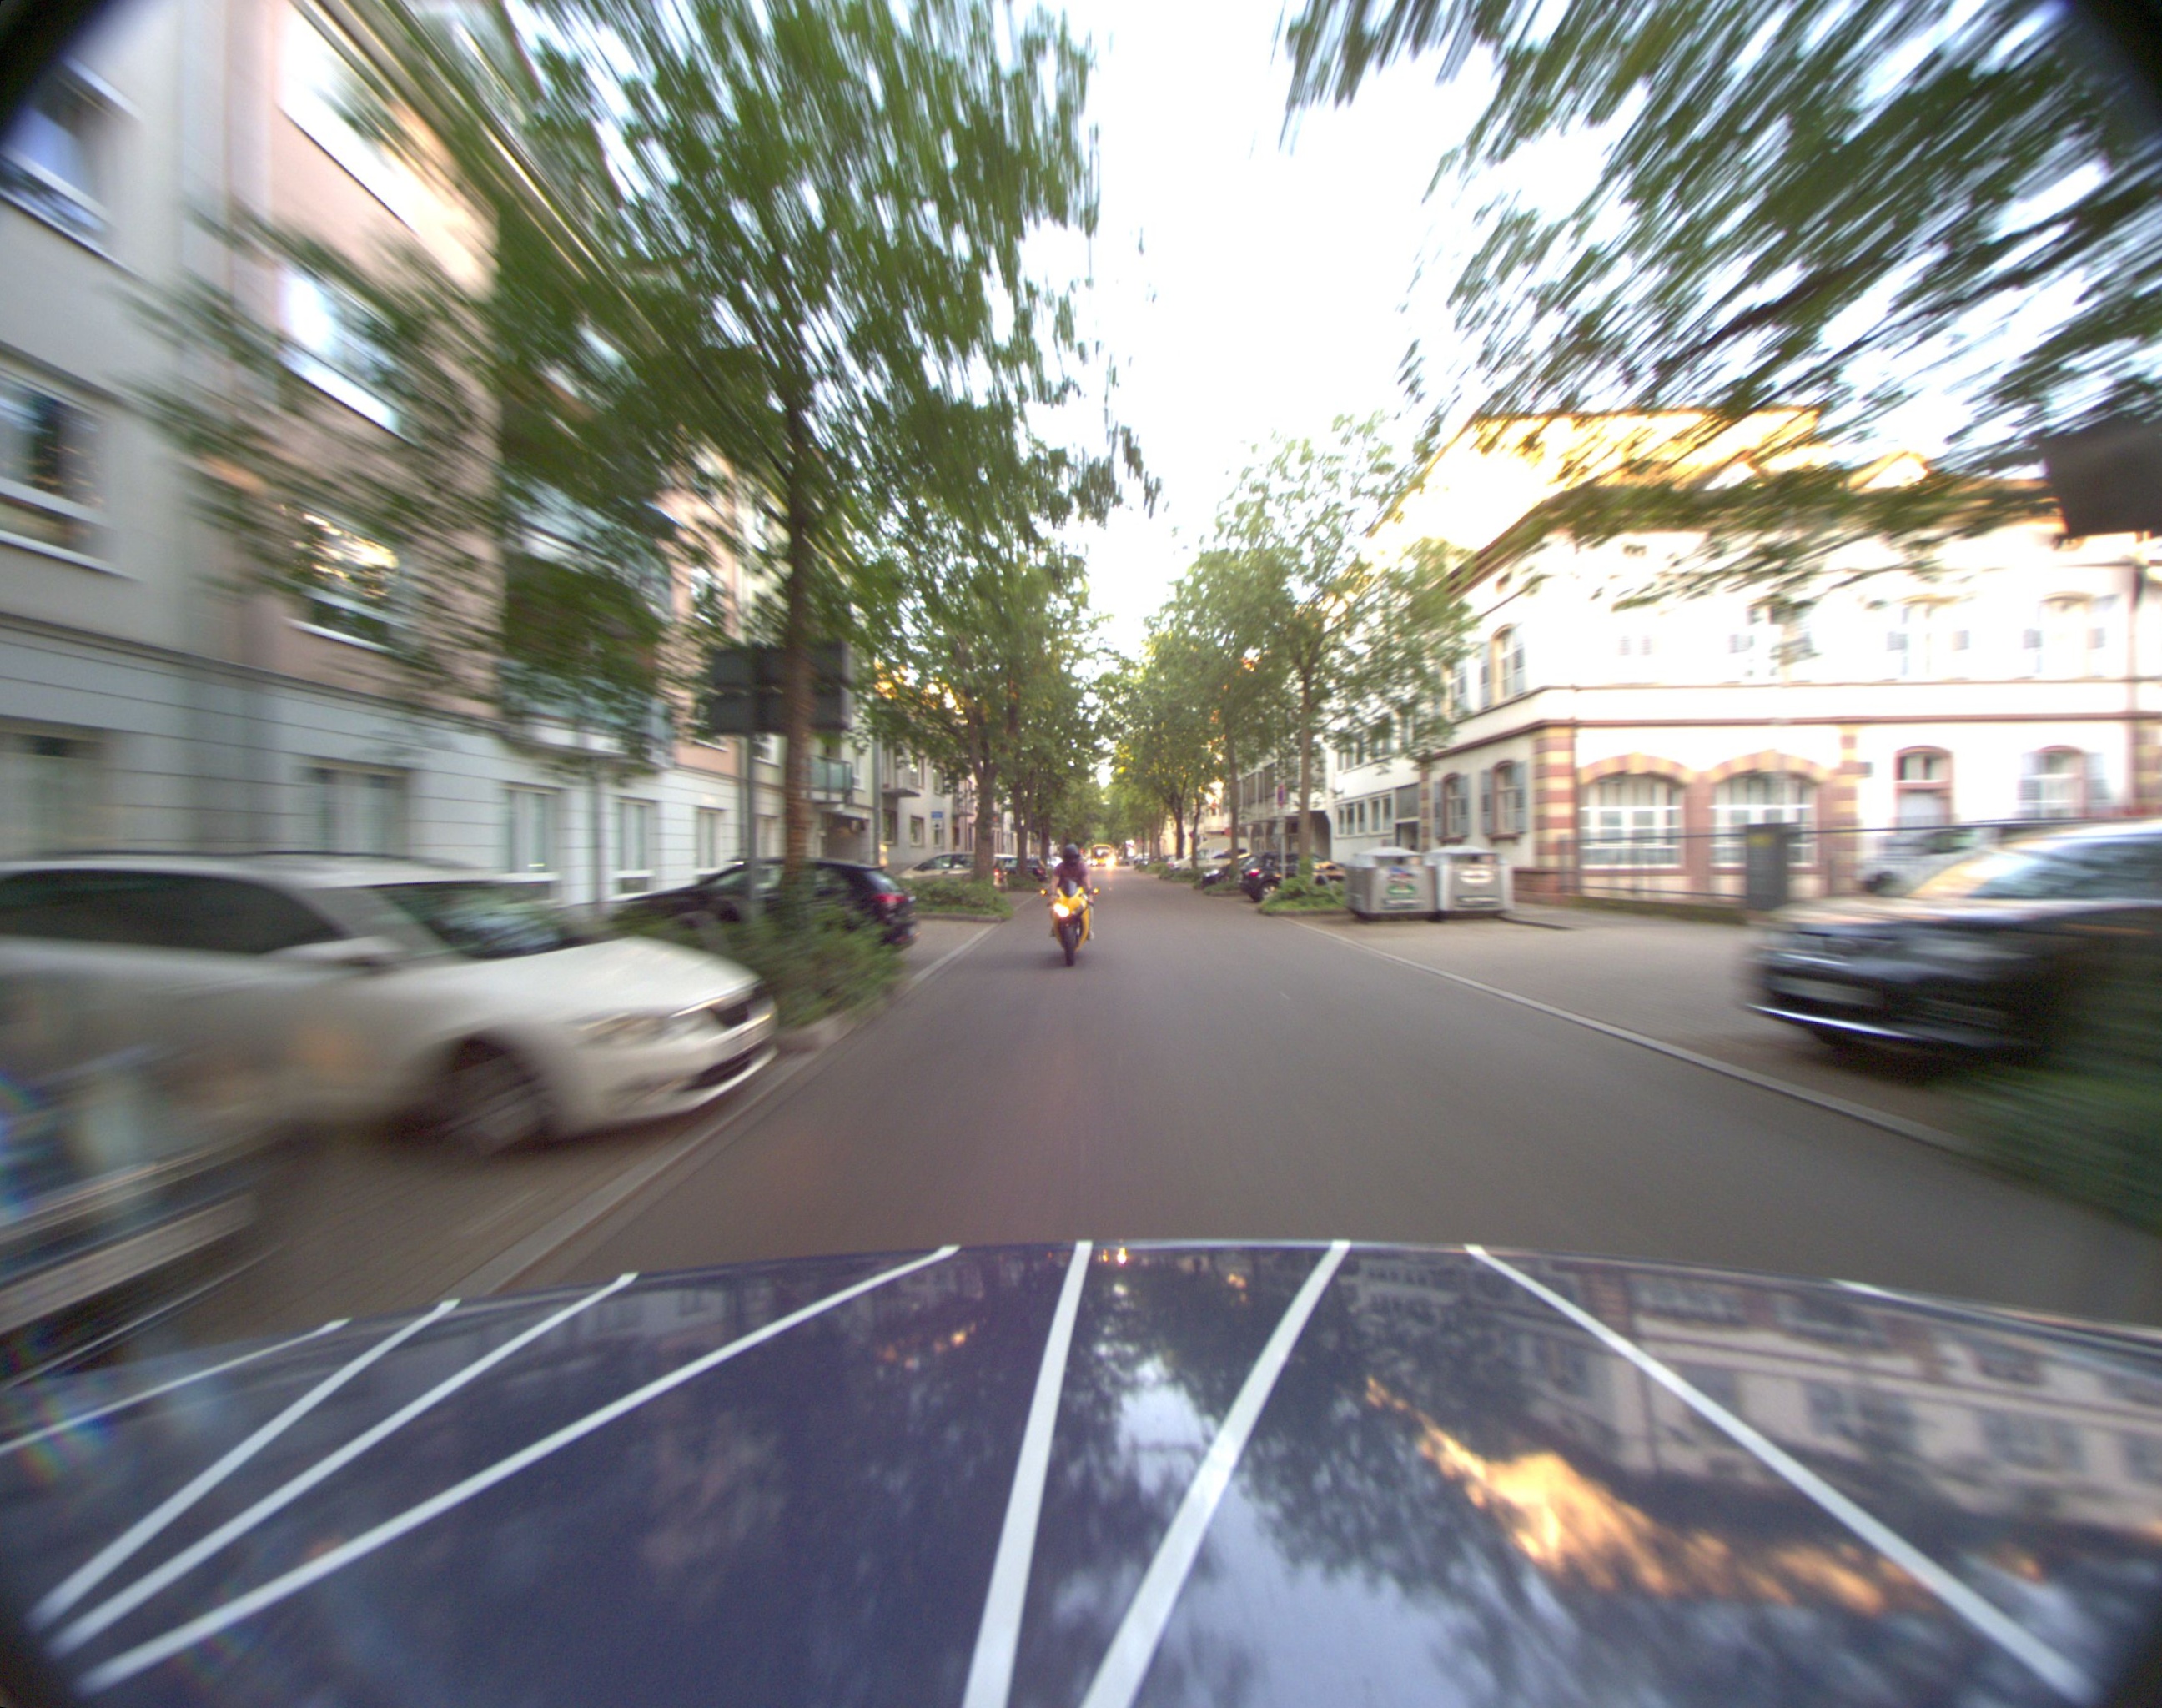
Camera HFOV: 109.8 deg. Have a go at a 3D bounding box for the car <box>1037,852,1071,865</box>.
[{"bbox_3d":[-3.083,0.502,88.487,3.858,1.390,1.675,1,0,1],"label":"car"}]

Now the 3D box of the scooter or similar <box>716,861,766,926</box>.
[{"bbox_3d":[-6.788,0.761,15.195,0.400,1.233,1.253,-1,0,1],"label":"scooter or similar"}]

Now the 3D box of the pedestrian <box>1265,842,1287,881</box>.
[{"bbox_3d":[10.316,0.401,40.218,0.942,2.002,0.839,-1,1,5],"label":"pedestrian"}]

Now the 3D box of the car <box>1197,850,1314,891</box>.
[{"bbox_3d":[7.328,0.667,32.167,4.548,1.673,1.621,0,0,-3],"label":"car"}]

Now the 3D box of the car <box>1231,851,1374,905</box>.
[{"bbox_3d":[6.974,0.740,24.193,3.997,1.579,1.828,-1,0,-1],"label":"car"}]

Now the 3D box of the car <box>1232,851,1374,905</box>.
[{"bbox_3d":[6.984,0.740,24.173,3.997,1.582,1.789,-1,0,1],"label":"car"}]

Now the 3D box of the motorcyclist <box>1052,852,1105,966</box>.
[{"bbox_3d":[-0.046,0.778,11.234,0.722,1.605,0.915,-1,1,-2],"label":"motorcyclist"}]

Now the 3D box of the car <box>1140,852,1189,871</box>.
[{"bbox_3d":[8.058,0.729,73.470,4.475,1.748,1.791,0,0,-2],"label":"car"}]

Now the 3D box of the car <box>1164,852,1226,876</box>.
[{"bbox_3d":[7.848,0.702,52.506,4.062,1.519,1.622,-1,0,4],"label":"car"}]

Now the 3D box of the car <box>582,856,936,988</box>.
[{"bbox_3d":[-4.188,0.862,10.456,3.998,1.466,1.913,3,0,-3],"label":"car"}]

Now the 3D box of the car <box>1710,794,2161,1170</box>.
[{"bbox_3d":[7.038,0.600,4.812,4.429,1.881,2.000,-1,0,0],"label":"car"}]

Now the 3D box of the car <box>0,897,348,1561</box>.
[{"bbox_3d":[-4.595,0.884,1.864,3.996,1.516,1.727,2,1,3],"label":"car"}]

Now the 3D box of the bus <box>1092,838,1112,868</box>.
[{"bbox_3d":[3.020,-0.127,110.066,2.833,4.085,7.832,0,0,1],"label":"bus"}]

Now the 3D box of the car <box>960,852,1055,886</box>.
[{"bbox_3d":[-3.621,0.725,37.612,4.366,1.461,1.732,2,0,6],"label":"car"}]

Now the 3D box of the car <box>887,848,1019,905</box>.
[{"bbox_3d":[-4.043,0.698,24.566,3.872,1.657,1.926,2,0,1],"label":"car"}]

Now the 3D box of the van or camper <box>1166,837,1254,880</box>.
[{"bbox_3d":[7.443,0.251,44.331,4.829,2.413,1.945,0,0,1],"label":"van or camper"}]

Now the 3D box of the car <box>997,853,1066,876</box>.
[{"bbox_3d":[-3.424,0.736,52.856,4.594,1.461,1.696,1,0,2],"label":"car"}]

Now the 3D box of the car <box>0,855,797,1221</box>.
[{"bbox_3d":[-4.304,0.861,4.434,4.584,1.543,1.772,2,0,0],"label":"car"}]

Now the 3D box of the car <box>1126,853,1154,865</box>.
[{"bbox_3d":[8.457,0.771,108.340,3.858,1.623,1.675,1,0,1],"label":"car"}]

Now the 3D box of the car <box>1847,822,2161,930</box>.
[{"bbox_3d":[18.201,0.289,14.931,1.786,1.796,4.461,-1,2,1],"label":"car"}]

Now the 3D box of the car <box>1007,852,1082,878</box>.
[{"bbox_3d":[-2.189,0.654,46.709,4.456,1.515,1.952,0,0,2],"label":"car"}]

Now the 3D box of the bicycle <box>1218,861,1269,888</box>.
[{"bbox_3d":[6.412,0.804,29.983,1.906,1.019,0.479,0,1,0],"label":"bicycle"}]

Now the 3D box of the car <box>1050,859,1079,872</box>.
[{"bbox_3d":[-2.241,1.585,102.774,3.998,1.752,2.000,0,0,-2],"label":"car"}]

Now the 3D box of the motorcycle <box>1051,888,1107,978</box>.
[{"bbox_3d":[-0.050,1.108,11.291,0.736,1.115,2.108,-1,0,-2],"label":"motorcycle"}]

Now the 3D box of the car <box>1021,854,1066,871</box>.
[{"bbox_3d":[-3.288,0.712,66.906,3.859,1.390,1.674,1,0,-3],"label":"car"}]
